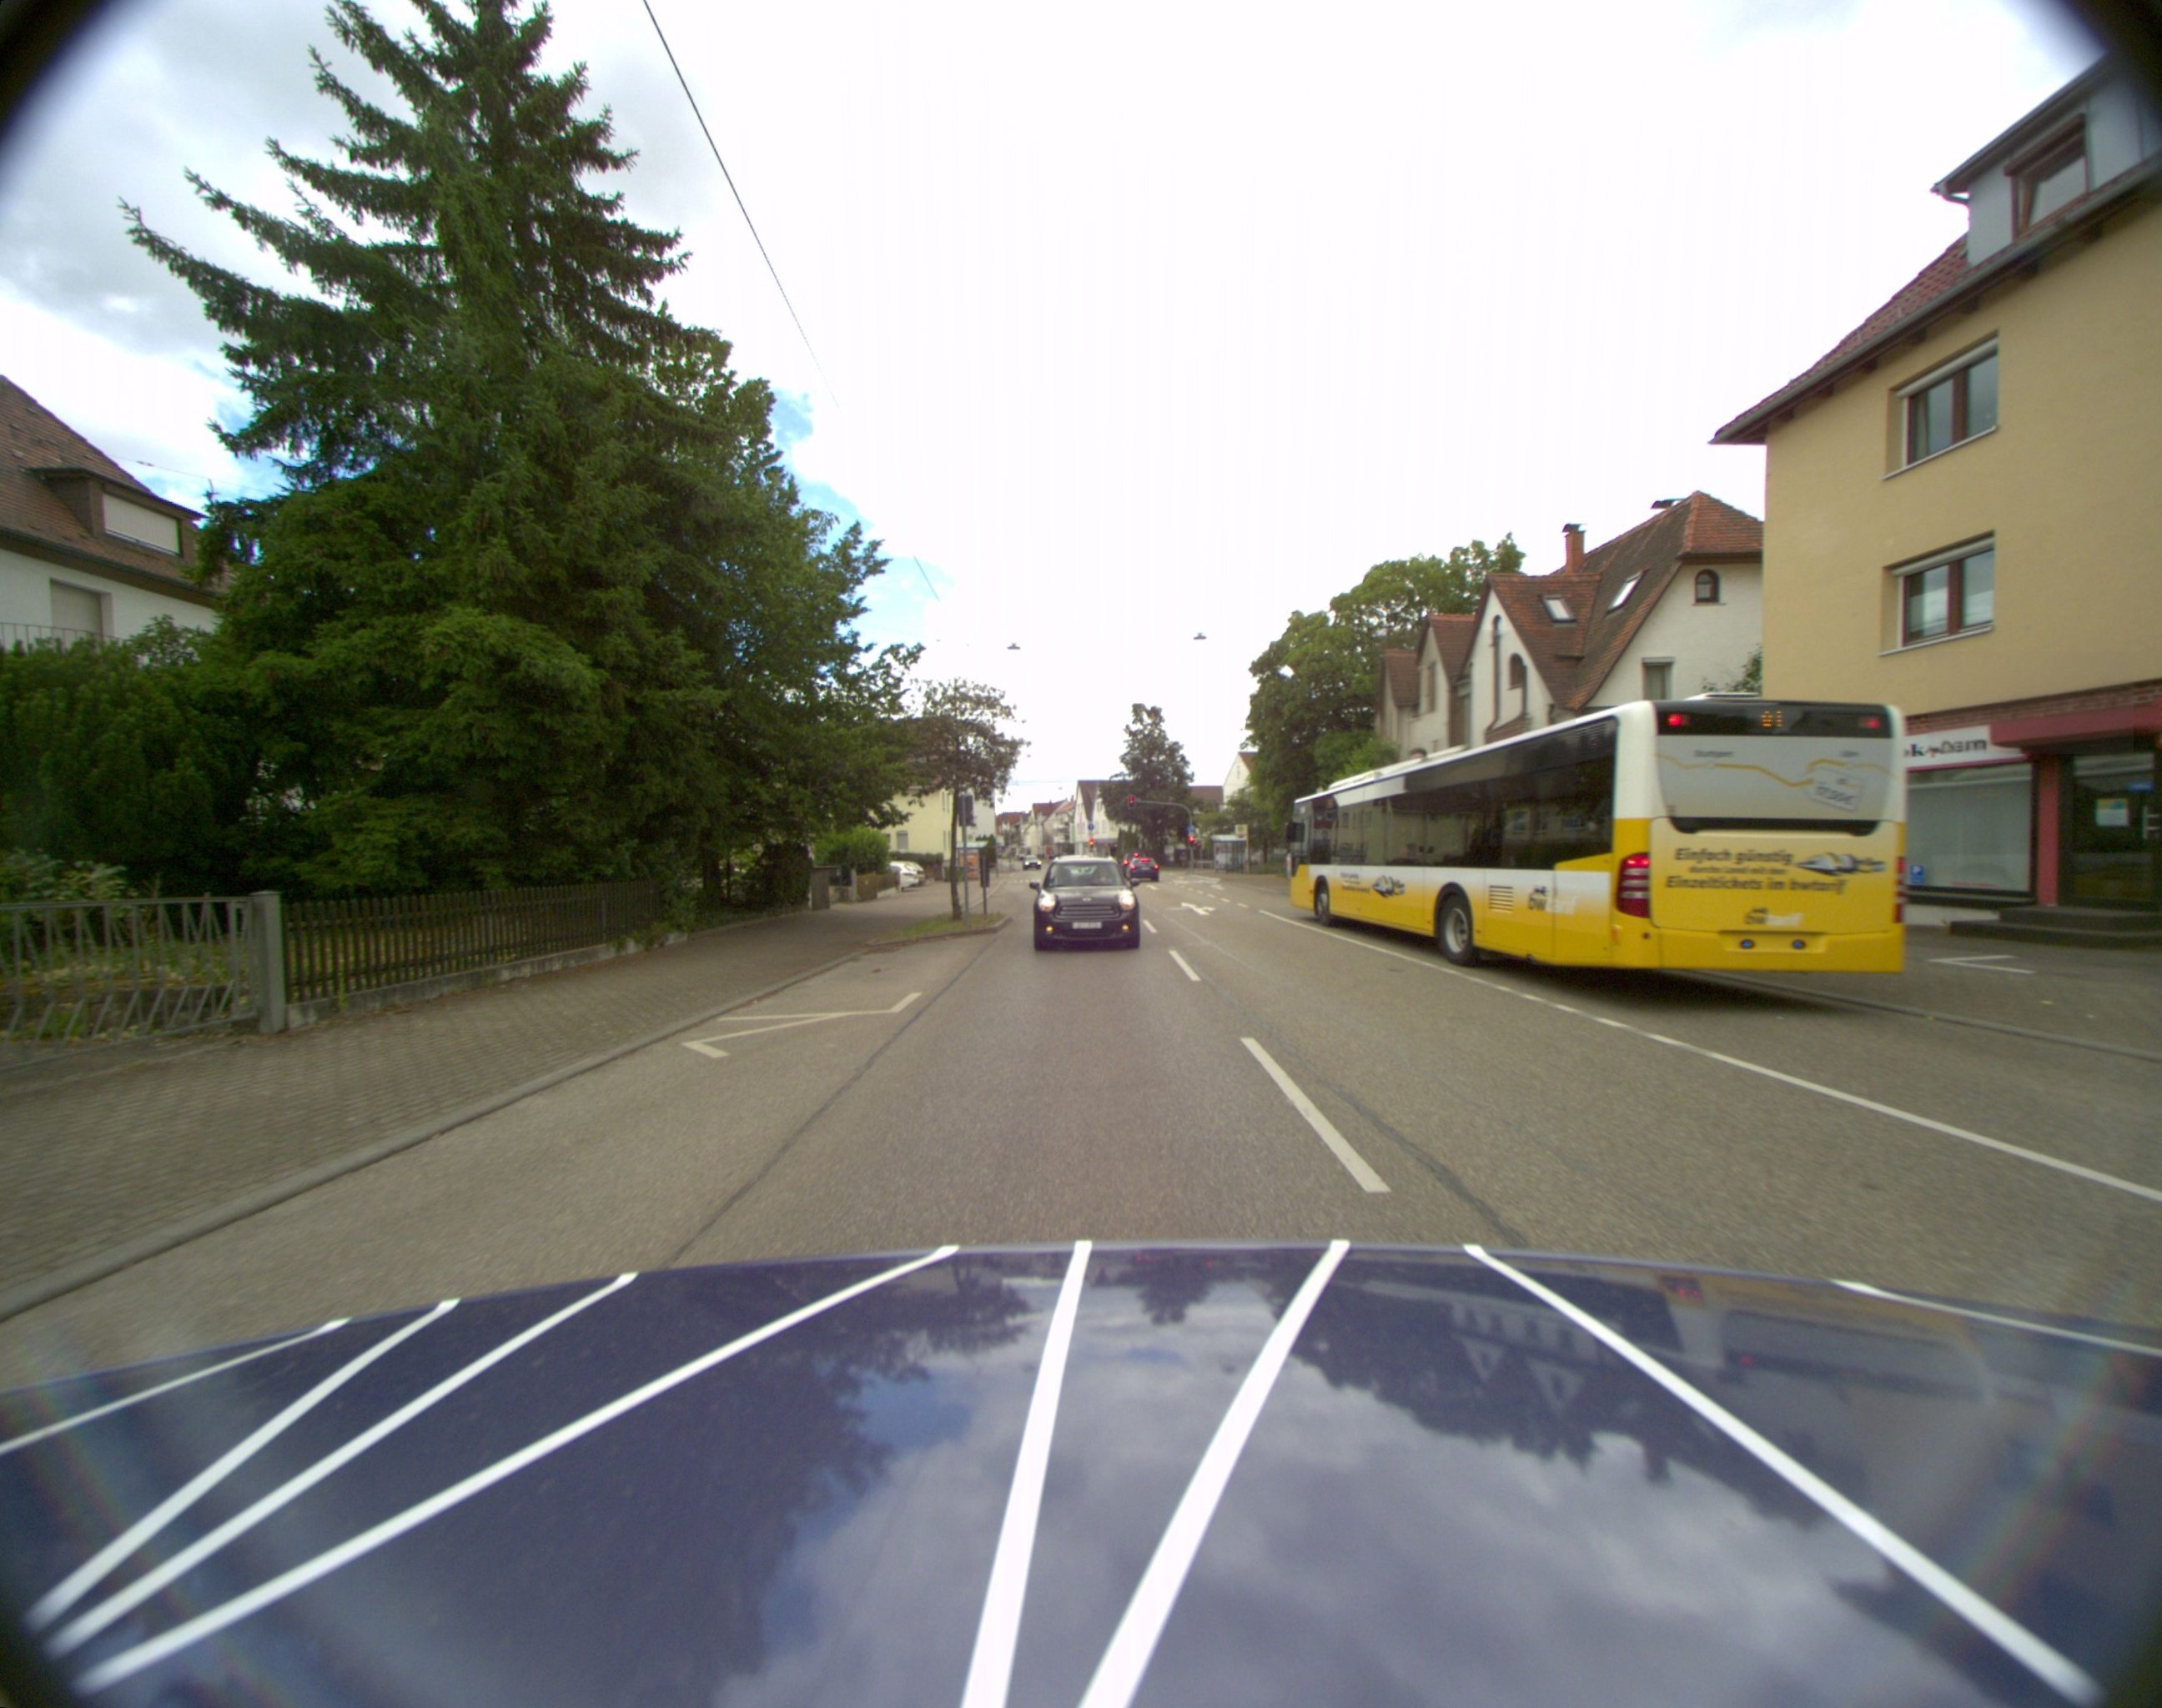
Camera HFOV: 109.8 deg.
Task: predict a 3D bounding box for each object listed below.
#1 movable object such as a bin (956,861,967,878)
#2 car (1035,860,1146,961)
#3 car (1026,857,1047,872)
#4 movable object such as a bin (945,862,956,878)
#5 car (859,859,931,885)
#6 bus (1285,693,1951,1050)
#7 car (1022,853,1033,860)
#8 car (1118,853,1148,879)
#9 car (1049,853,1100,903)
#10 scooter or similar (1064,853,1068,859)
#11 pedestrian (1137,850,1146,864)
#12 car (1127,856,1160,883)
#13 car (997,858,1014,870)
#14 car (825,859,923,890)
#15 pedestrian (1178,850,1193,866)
[{"bbox_3d":[-7.995,1.038,50.951,0.638,1.040,0.585,-3,2,-8],"label":"movable object such as a bin"},{"bbox_3d":[0.082,0.901,13.925,1.694,1.506,3.999,-2,0,-2],"label":"car"},{"bbox_3d":[-5.280,1.206,89.683,1.847,1.510,3.995,-3,1,-10],"label":"car"},{"bbox_3d":[-8.727,1.088,50.857,0.638,1.040,0.585,-1,2,-8],"label":"movable object such as a bin"},{"bbox_3d":[-10.637,1.021,43.749,3.814,1.394,1.639,0,2,-5],"label":"car"},{"bbox_3d":[6.236,0.129,12.589,2.638,3.068,12.069,0,0,1],"label":"bus"},{"bbox_3d":[-11.410,0.538,160.703,1.635,1.404,3.995,-1,1,-14],"label":"car"},{"bbox_3d":[3.650,0.800,53.950,1.762,1.626,4.593,1,1,-1],"label":"car"},{"bbox_3d":[-0.302,0.865,30.191,1.811,1.556,4.615,-2,3,-2],"label":"car"},{"bbox_3d":[-2.557,0.344,133.077,0.465,1.117,1.828,-2,1,4],"label":"scooter or similar"},{"bbox_3d":[7.002,0.326,88.203,0.642,1.596,0.865,-3,2,-21],"label":"pedestrian"},{"bbox_3d":[3.798,0.898,46.425,1.568,1.412,4.129,-1,1,-1],"label":"car"},{"bbox_3d":[-10.449,1.350,105.185,1.848,1.510,3.995,-3,1,-12],"label":"car"},{"bbox_3d":[-10.402,1.030,38.455,4.431,1.480,1.864,0,2,-1],"label":"car"},{"bbox_3d":[11.428,0.452,82.992,1.226,1.744,0.825,-1,2,42],"label":"pedestrian"}]
